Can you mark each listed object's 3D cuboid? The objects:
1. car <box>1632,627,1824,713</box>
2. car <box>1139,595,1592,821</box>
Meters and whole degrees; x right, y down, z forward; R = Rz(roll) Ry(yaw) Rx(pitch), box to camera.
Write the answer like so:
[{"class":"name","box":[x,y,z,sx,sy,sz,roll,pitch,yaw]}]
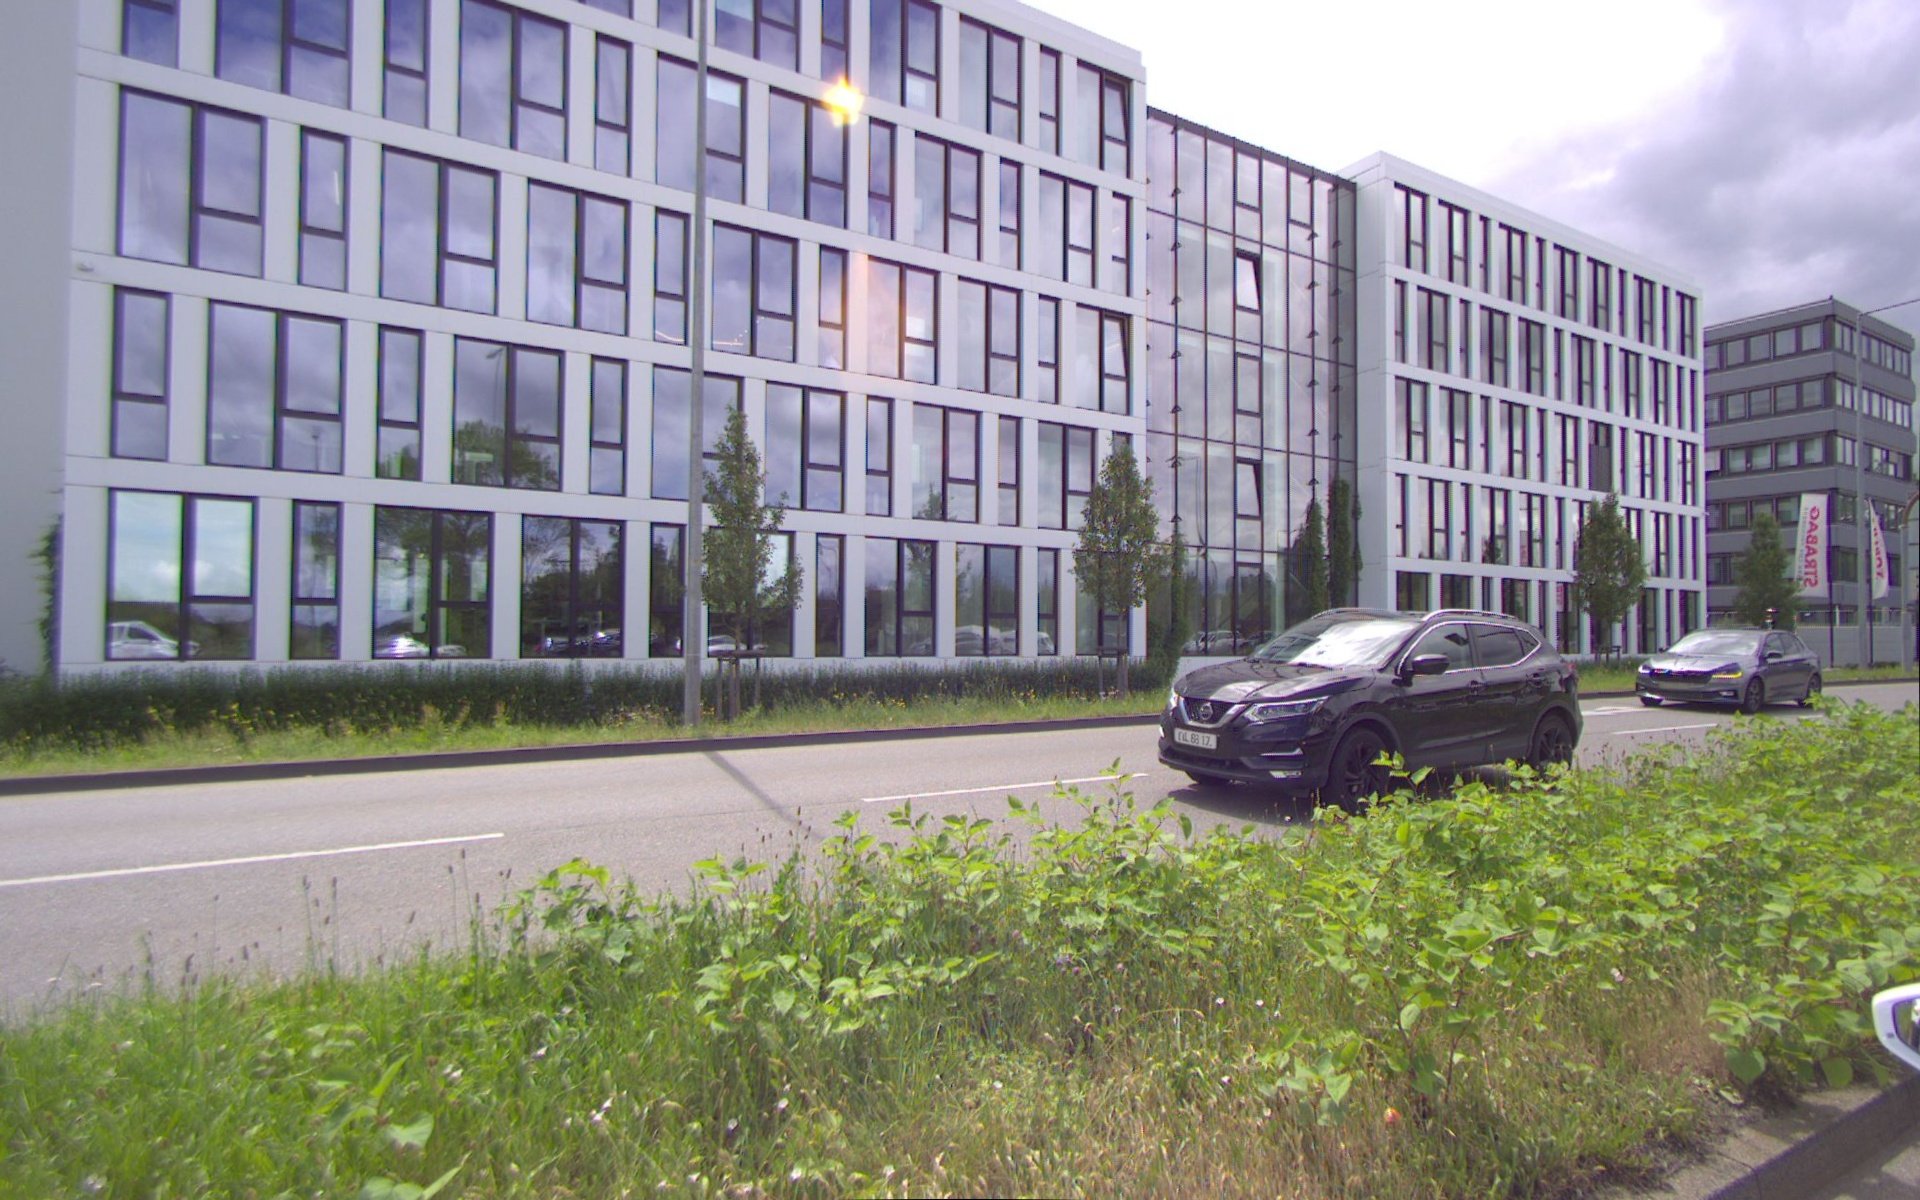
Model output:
[{"class":"car","box":[14.054,1.208,18.346,3.737,1.401,1.546,1,-1,-31]},{"class":"car","box":[3.695,0.850,8.989,3.996,1.623,1.688,2,-2,-30]}]
